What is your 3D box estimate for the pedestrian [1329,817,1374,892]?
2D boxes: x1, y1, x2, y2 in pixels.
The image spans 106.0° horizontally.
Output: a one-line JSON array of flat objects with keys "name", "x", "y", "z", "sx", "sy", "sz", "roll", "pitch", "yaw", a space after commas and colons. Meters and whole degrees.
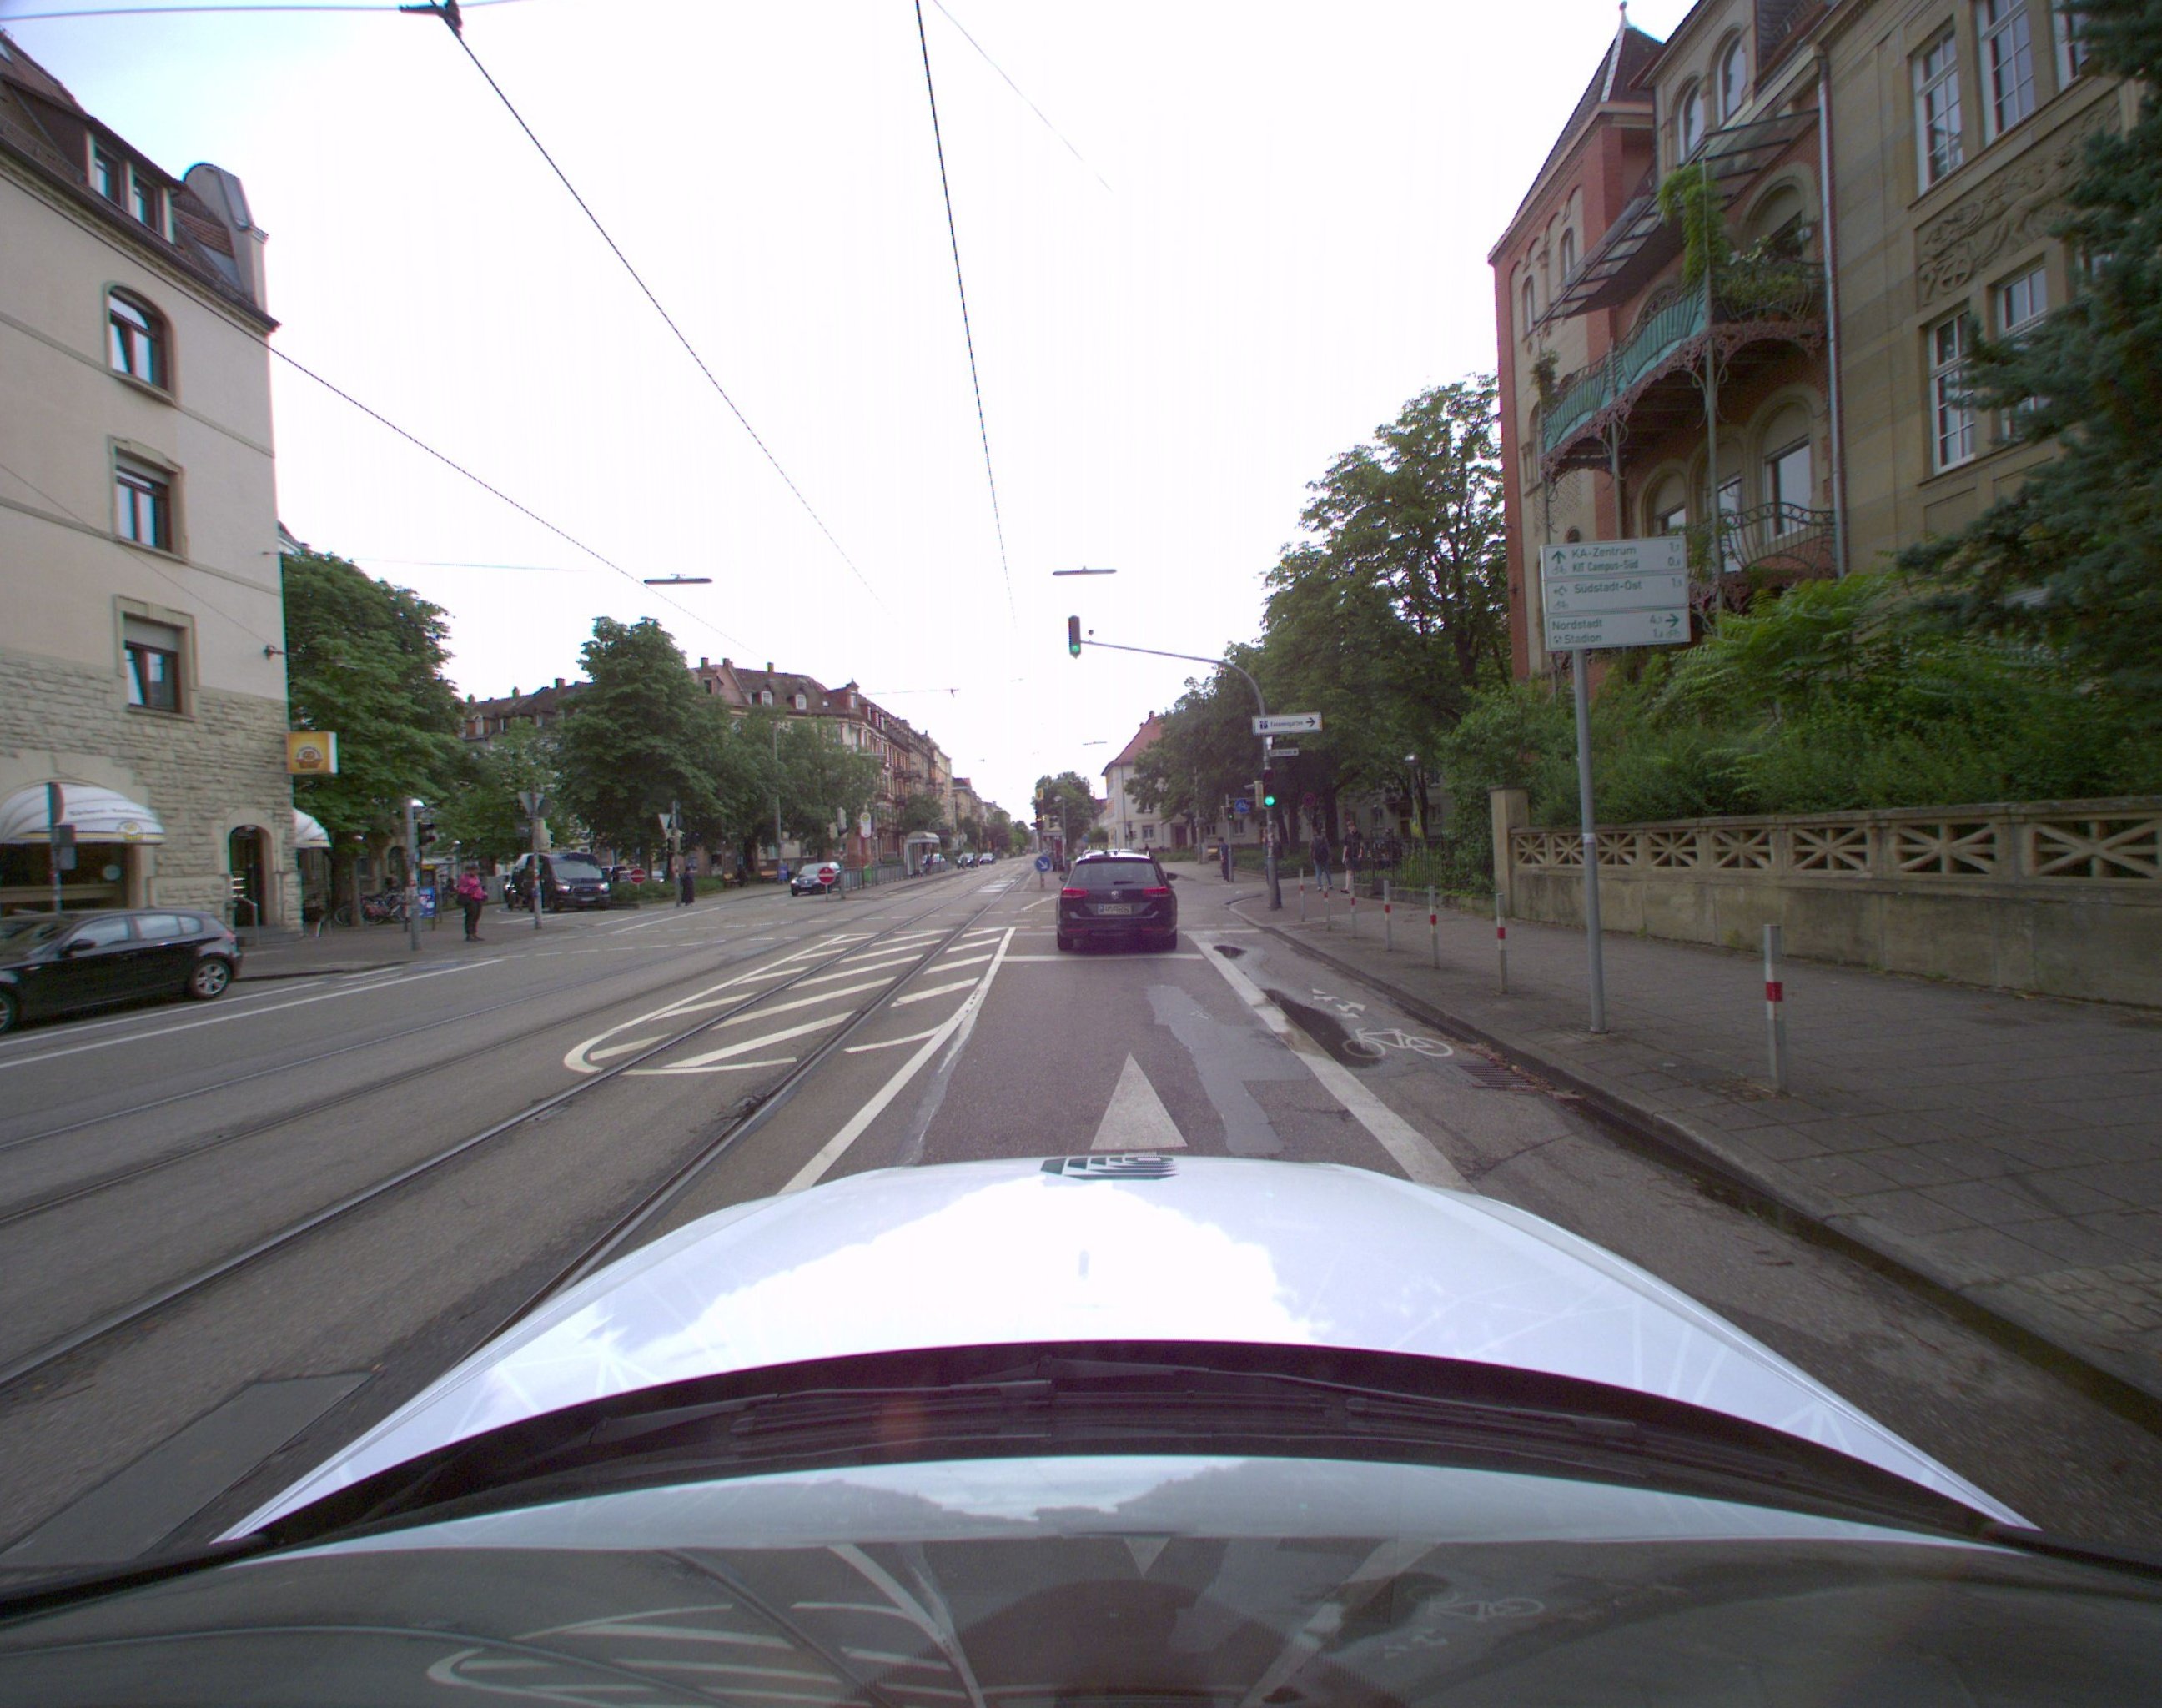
[{"name": "pedestrian", "x": 6.852, "y": 0.017, "z": 20.634, "sx": 0.656, "sy": 1.831, "sz": 0.790, "roll": -3, "pitch": 0, "yaw": -43}]

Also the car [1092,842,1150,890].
[{"name": "car", "x": 1.363, "y": 0.387, "z": 29.105, "sx": 1.719, "sy": 1.546, "sz": 3.997, "roll": -3, "pitch": 0, "yaw": -2}]

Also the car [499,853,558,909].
[{"name": "car", "x": -27.638, "y": 1.313, "z": 40.793, "sx": 2.195, "sy": 2.527, "sz": 5.323, "roll": -3, "pitch": 0, "yaw": -34}]

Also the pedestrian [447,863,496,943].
[{"name": "pedestrian", "x": -14.645, "y": 1.160, "z": 19.577, "sx": 0.622, "sy": 1.842, "sz": 0.609, "roll": -3, "pitch": 0, "yaw": -4}]

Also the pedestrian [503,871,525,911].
[{"name": "pedestrian", "x": -25.390, "y": 1.637, "z": 36.468, "sx": 0.704, "sy": 1.715, "sz": 0.545, "roll": -3, "pitch": 0, "yaw": -42}]

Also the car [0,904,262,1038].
[{"name": "car", "x": -13.696, "y": 1.495, "z": 10.805, "sx": 1.645, "sy": 1.361, "sz": 4.123, "roll": -1, "pitch": 0, "yaw": -4}]

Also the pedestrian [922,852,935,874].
[{"name": "pedestrian", "x": -10.577, "y": 0.612, "z": 56.641, "sx": 0.712, "sy": 1.520, "sz": 0.589, "roll": -3, "pitch": 0, "yaw": -1}]

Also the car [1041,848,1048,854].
[{"name": "car", "x": -11.312, "y": -0.959, "z": 255.001, "sx": 2.027, "sy": 2.013, "sz": 3.997, "roll": -2, "pitch": 0, "yaw": -2}]

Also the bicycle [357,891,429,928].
[{"name": "bicycle", "x": -23.386, "y": 1.878, "z": 27.711, "sx": 0.354, "sy": 1.076, "sz": 1.826, "roll": -3, "pitch": 0, "yaw": 41}]

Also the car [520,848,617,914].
[{"name": "car", "x": -21.088, "y": 1.097, "z": 33.397, "sx": 2.199, "sy": 2.417, "sz": 5.313, "roll": -3, "pitch": 0, "yaw": -44}]

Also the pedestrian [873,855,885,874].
[{"name": "pedestrian", "x": -17.461, "y": 0.912, "z": 70.363, "sx": 0.582, "sy": 1.520, "sz": 0.653, "roll": -3, "pitch": 0, "yaw": 33}]

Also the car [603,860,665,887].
[{"name": "car", "x": -29.780, "y": 1.285, "z": 54.410, "sx": 1.789, "sy": 1.596, "sz": 4.001, "roll": -3, "pitch": 0, "yaw": 1}]

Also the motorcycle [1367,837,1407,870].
[{"name": "motorcycle", "x": 12.602, "y": -0.031, "z": 33.477, "sx": 1.914, "sy": 1.235, "sz": 0.443, "roll": -3, "pitch": 0, "yaw": -33}]

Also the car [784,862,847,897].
[{"name": "car", "x": -12.362, "y": 1.150, "z": 38.174, "sx": 1.682, "sy": 1.382, "sz": 3.854, "roll": -3, "pitch": 0, "yaw": -2}]

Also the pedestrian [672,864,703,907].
[{"name": "pedestrian", "x": -15.735, "y": 1.241, "z": 32.563, "sx": 0.834, "sy": 1.663, "sz": 0.591, "roll": -3, "pitch": 0, "yaw": -1}]

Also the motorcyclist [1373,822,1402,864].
[{"name": "motorcyclist", "x": 12.592, "y": -0.450, "z": 33.494, "sx": 0.807, "sy": 1.692, "sz": 0.698, "roll": -3, "pitch": 0, "yaw": -32}]

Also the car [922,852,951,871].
[{"name": "car", "x": -13.117, "y": 0.648, "z": 73.936, "sx": 1.789, "sy": 1.596, "sz": 4.001, "roll": -3, "pitch": 0, "yaw": 1}]

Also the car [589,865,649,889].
[{"name": "car", "x": -37.149, "y": 1.825, "z": 65.494, "sx": 3.830, "sy": 1.622, "sz": 1.730, "roll": -3, "pitch": 0, "yaw": 7}]

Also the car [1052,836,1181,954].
[{"name": "car", "x": 0.437, "y": 0.544, "z": 13.205, "sx": 1.719, "sy": 1.546, "sz": 3.997, "roll": -3, "pitch": 0, "yaw": -2}]

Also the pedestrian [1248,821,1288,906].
[{"name": "pedestrian", "x": 4.219, "y": 0.214, "z": 18.387, "sx": 0.583, "sy": 1.830, "sz": 0.604, "roll": -6, "pitch": 0, "yaw": -1}]

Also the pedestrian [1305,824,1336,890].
[{"name": "pedestrian", "x": 6.802, "y": 0.070, "z": 23.179, "sx": 0.629, "sy": 1.815, "sz": 0.727, "roll": -3, "pitch": 0, "yaw": 5}]

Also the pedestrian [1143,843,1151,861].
[{"name": "pedestrian", "x": 5.637, "y": -0.183, "z": 69.820, "sx": 0.579, "sy": 1.553, "sz": 0.609, "roll": -3, "pitch": 0, "yaw": 0}]

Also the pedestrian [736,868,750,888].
[{"name": "pedestrian", "x": -20.115, "y": 1.410, "z": 48.457, "sx": 0.592, "sy": 1.168, "sz": 0.836, "roll": -3, "pitch": 0, "yaw": -31}]

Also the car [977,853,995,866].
[{"name": "car", "x": -12.419, "y": 0.673, "z": 106.503, "sx": 1.789, "sy": 1.596, "sz": 4.001, "roll": -3, "pitch": 0, "yaw": 1}]

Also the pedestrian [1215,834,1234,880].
[{"name": "pedestrian", "x": 5.907, "y": 0.111, "z": 33.483, "sx": 0.513, "sy": 1.830, "sz": 0.418, "roll": -6, "pitch": 0, "yaw": -1}]

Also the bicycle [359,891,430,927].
[{"name": "bicycle", "x": -23.737, "y": 1.894, "z": 28.182, "sx": 0.354, "sy": 1.076, "sz": 1.826, "roll": -3, "pitch": 0, "yaw": 41}]

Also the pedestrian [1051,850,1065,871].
[{"name": "pedestrian", "x": -1.485, "y": 0.441, "z": 52.872, "sx": 0.821, "sy": 1.304, "sz": 0.568, "roll": -3, "pitch": 0, "yaw": -3}]

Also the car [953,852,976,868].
[{"name": "car", "x": -12.515, "y": 0.667, "z": 87.611, "sx": 1.789, "sy": 1.596, "sz": 4.001, "roll": -3, "pitch": 0, "yaw": 1}]

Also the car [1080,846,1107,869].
[{"name": "car", "x": 0.868, "y": 0.218, "z": 58.926, "sx": 1.719, "sy": 1.546, "sz": 3.997, "roll": -3, "pitch": 0, "yaw": -2}]
